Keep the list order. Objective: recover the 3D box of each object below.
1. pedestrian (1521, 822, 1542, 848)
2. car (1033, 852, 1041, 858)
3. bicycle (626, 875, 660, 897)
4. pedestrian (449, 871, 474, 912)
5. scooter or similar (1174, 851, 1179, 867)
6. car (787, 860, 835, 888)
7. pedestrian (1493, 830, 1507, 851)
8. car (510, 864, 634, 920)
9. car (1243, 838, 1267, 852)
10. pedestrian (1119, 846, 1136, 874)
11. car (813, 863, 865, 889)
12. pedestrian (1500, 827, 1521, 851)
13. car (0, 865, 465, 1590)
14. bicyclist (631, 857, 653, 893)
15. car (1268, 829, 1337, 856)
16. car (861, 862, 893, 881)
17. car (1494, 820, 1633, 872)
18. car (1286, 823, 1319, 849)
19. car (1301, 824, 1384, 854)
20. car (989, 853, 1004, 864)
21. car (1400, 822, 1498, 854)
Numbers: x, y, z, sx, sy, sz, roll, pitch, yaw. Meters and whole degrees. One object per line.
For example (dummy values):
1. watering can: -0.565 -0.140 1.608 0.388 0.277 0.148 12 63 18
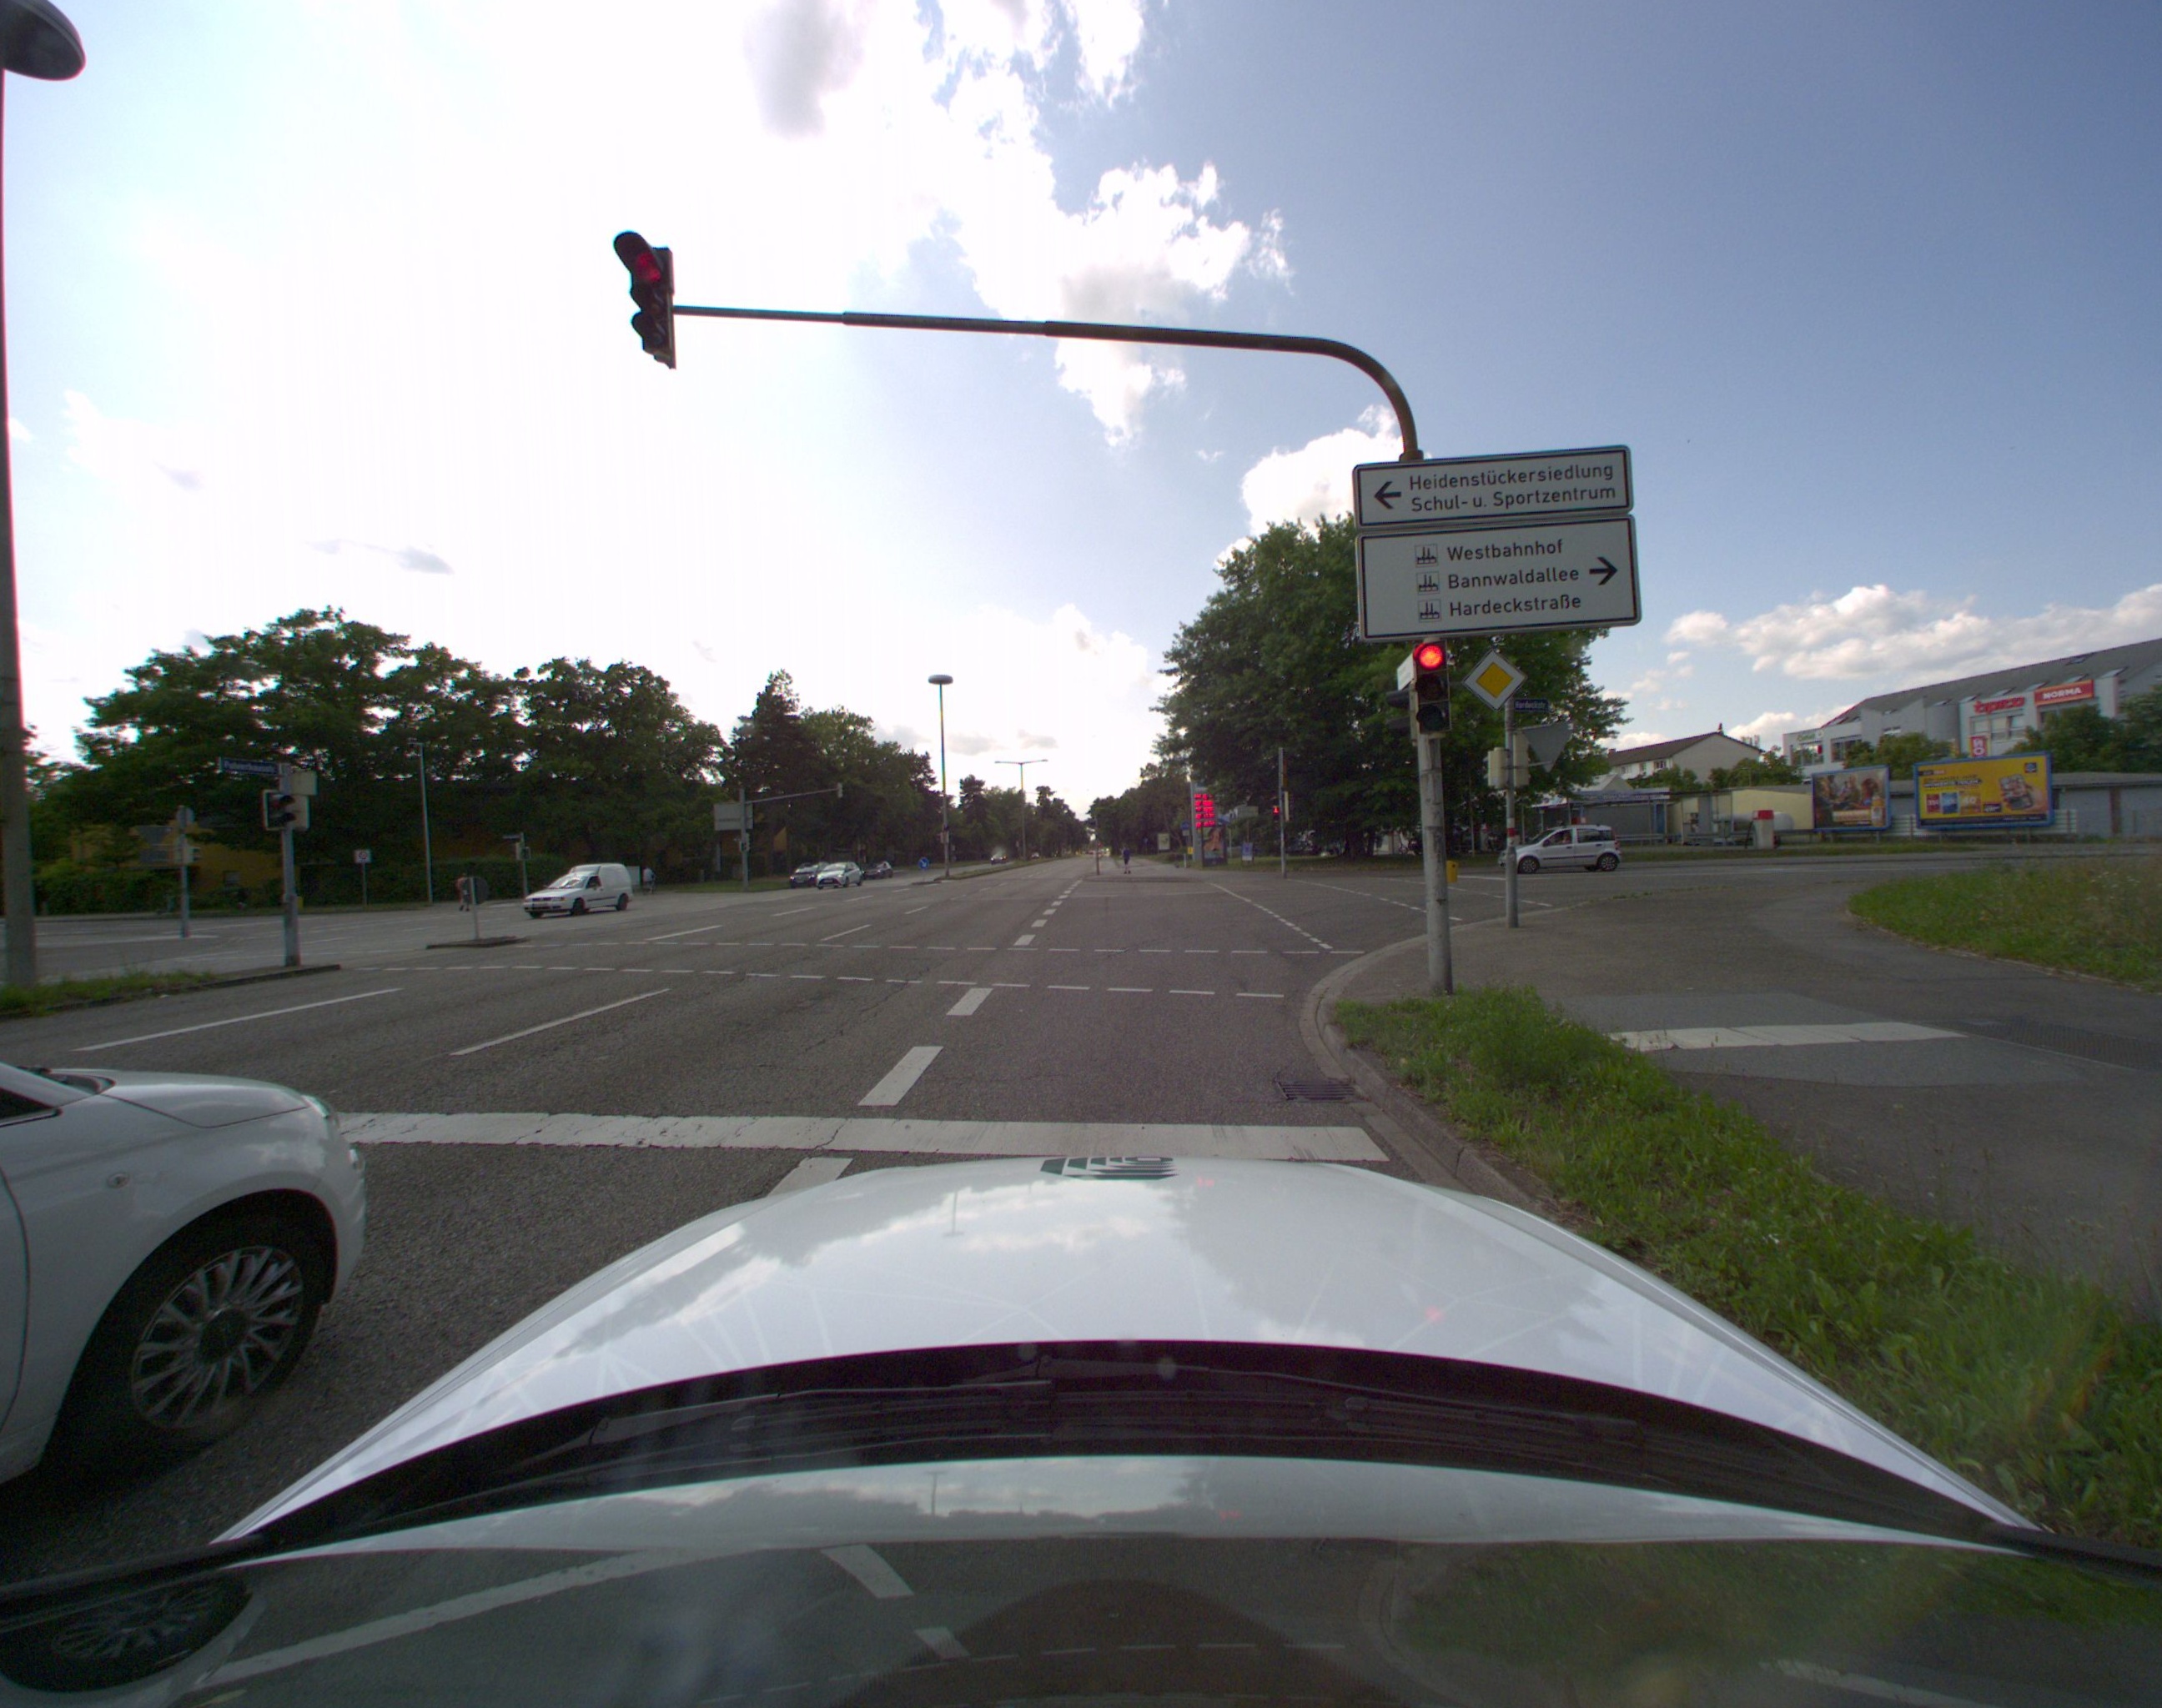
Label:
1. pedestrian: 22.600 -0.939 40.860 0.649 1.255 0.757 0 -1 -42
2. car: -12.027 0.231 221.656 1.854 1.705 4.456 -3 0 1
3. bicycle: -25.210 1.838 46.903 0.752 1.119 2.114 -3 0 0
4. pedestrian: -27.391 1.644 36.021 0.696 1.742 0.697 -3 0 39
5. scooter or similar: 6.087 0.333 51.973 0.220 0.979 1.273 -3 0 2
6. car: -18.030 1.278 54.563 1.664 1.742 4.312 -2 -1 2
7. pedestrian: 30.893 -1.000 60.027 0.650 1.544 0.625 -3 0 8
8. car: -18.197 1.286 29.368 1.664 1.794 4.256 -2 -1 2
9. car: 18.731 -0.949 87.611 1.744 1.454 3.741 -3 0 0
10. pedestrian: 2.616 0.325 46.146 0.726 1.531 0.756 -3 0 -15
11. car: -13.995 1.241 47.250 1.746 1.308 3.695 -4 -1 2
12. pedestrian: 21.868 -0.747 41.432 0.649 1.190 0.757 0 -1 -42
13. car: -3.047 0.780 1.159 1.564 1.497 3.541 0 -1 2
14. bicyclist: -25.240 1.202 46.832 0.749 2.013 0.831 -3 0 -1
15. car: 18.730 -0.974 68.894 5.167 2.004 2.152 -3 0 -2
16. car: -16.939 1.438 67.821 1.589 1.372 4.081 -3 0 0
17. car: 15.586 -0.244 26.471 3.571 1.517 1.565 -2 0 14
18. car: 22.924 -1.832 84.583 1.744 2.453 5.750 -3 0 0
19. car: 18.544 -1.065 57.959 5.179 1.826 2.147 -3 0 -9
20. car: -12.374 0.601 119.702 1.766 1.465 4.454 -3 0 -1
21. car: 20.601 -0.886 45.653 4.548 1.596 2.147 -3 0 -9
